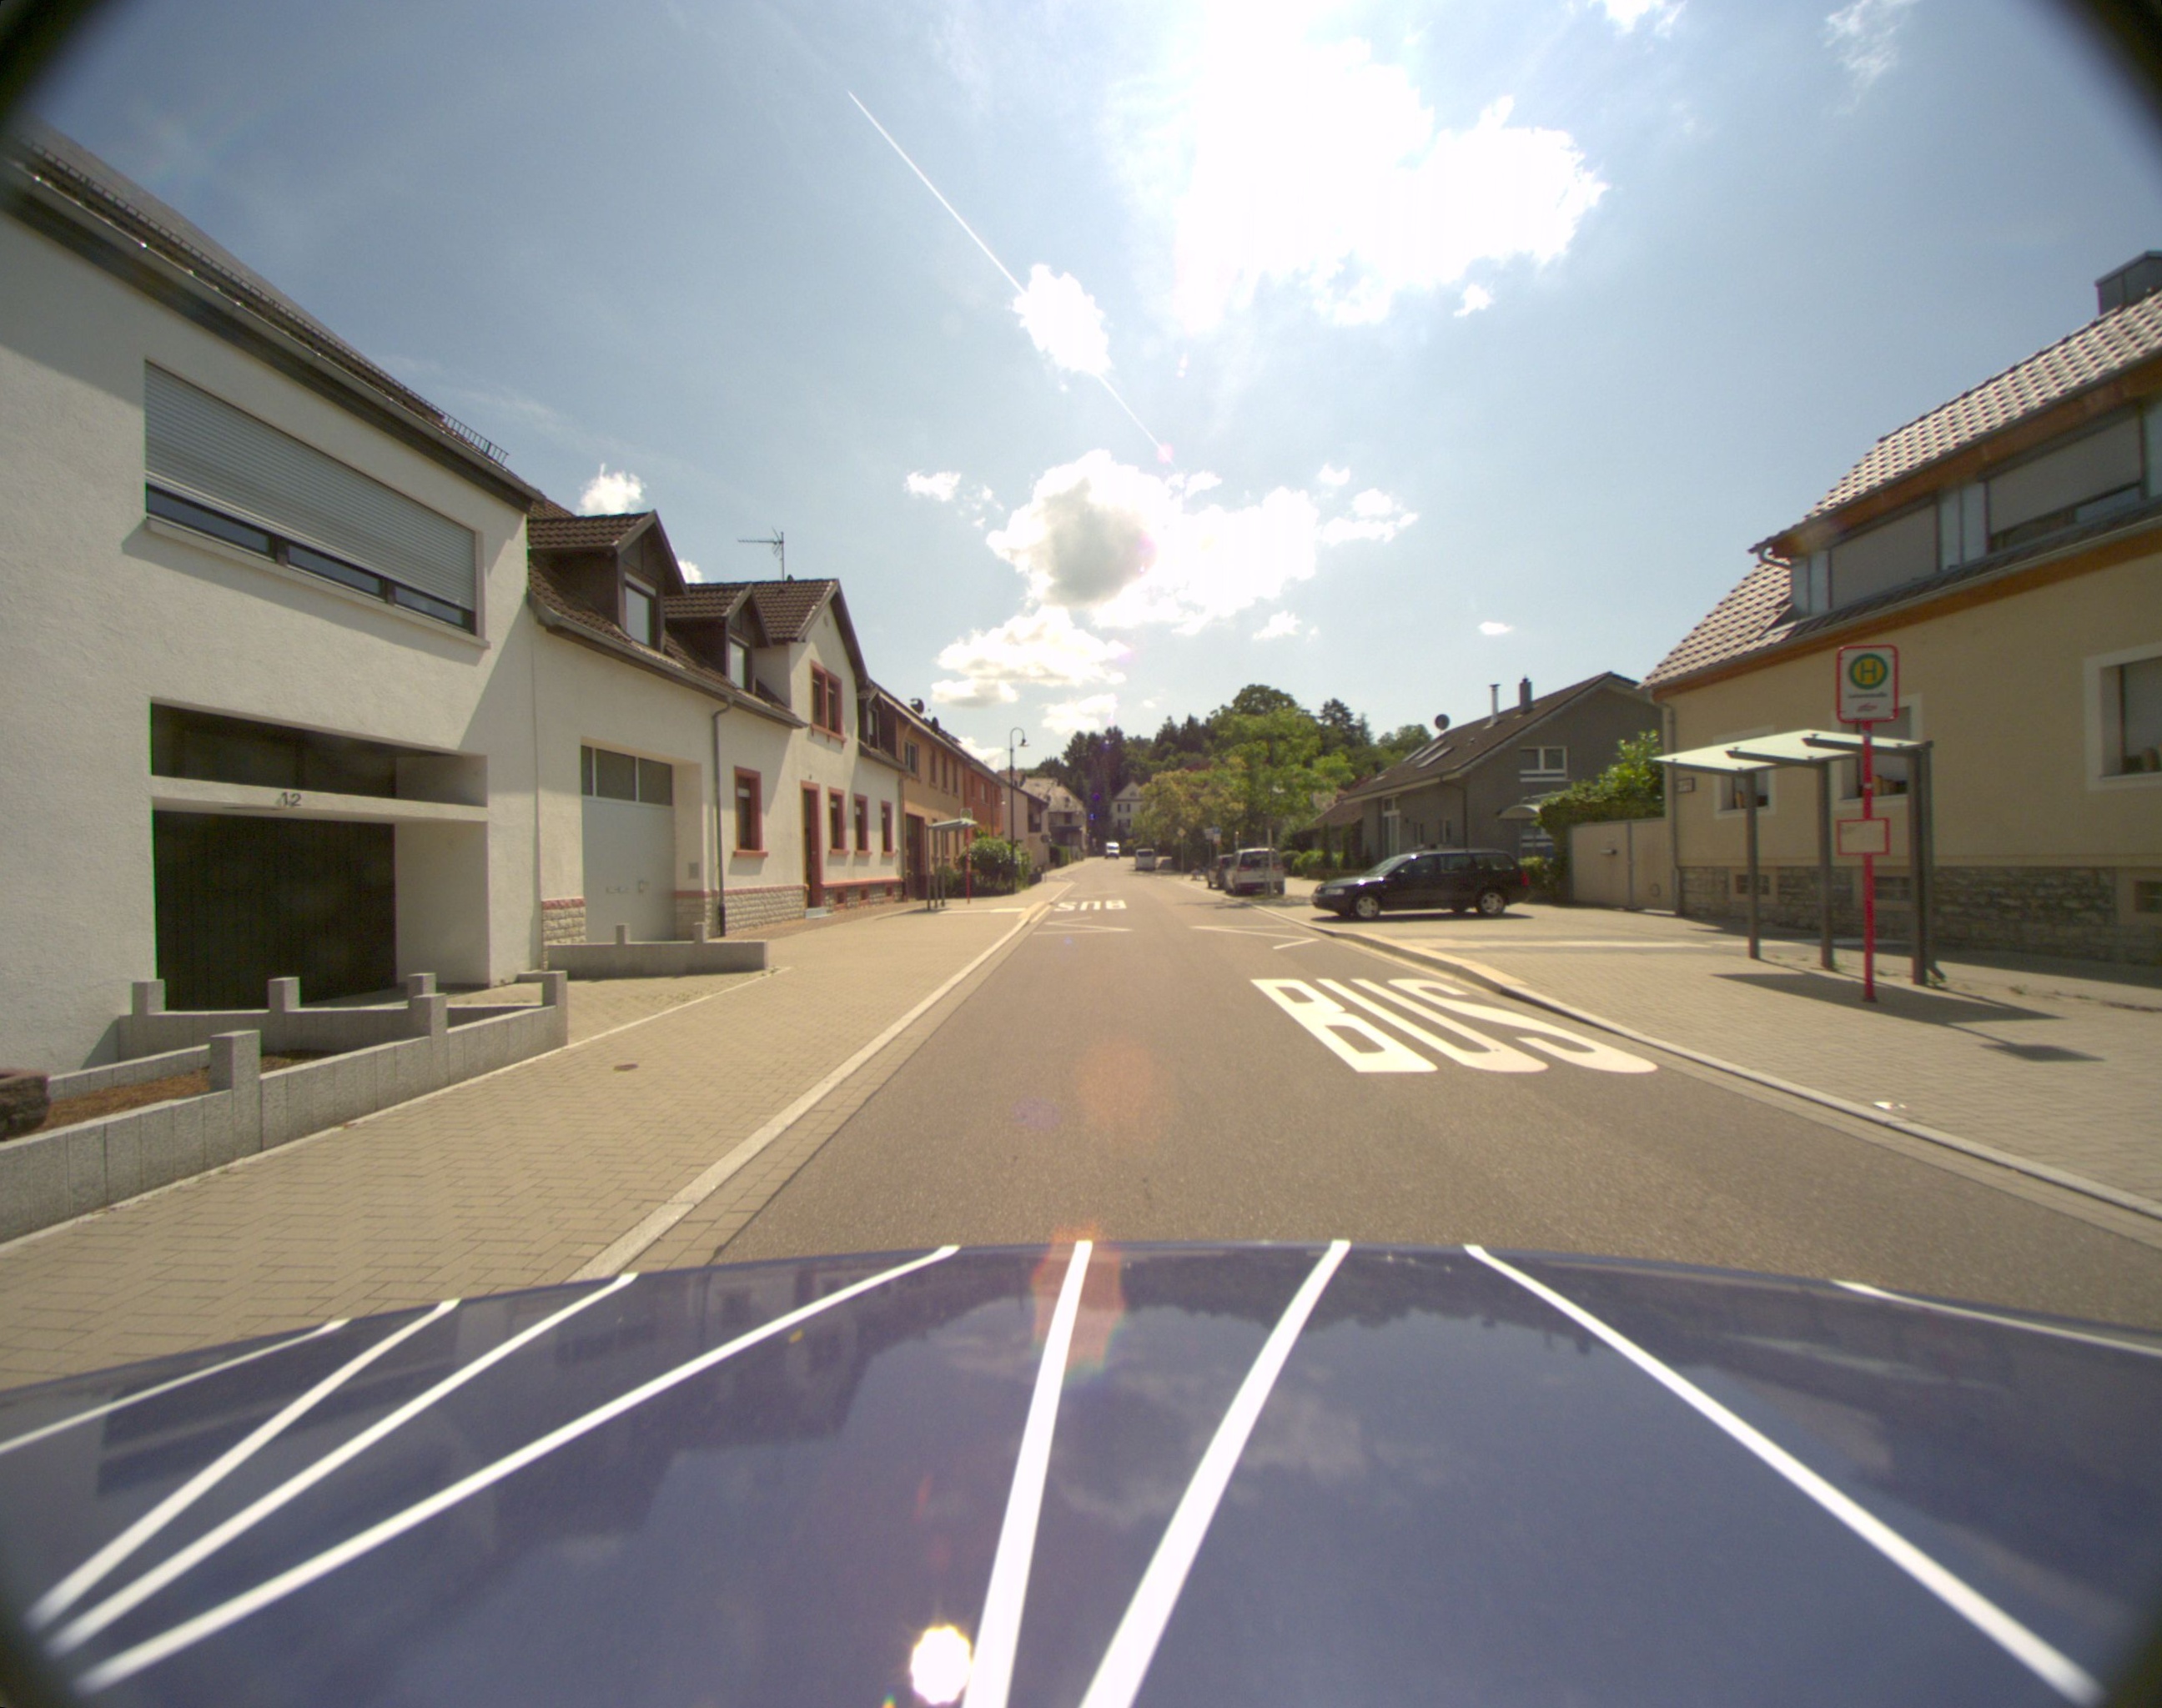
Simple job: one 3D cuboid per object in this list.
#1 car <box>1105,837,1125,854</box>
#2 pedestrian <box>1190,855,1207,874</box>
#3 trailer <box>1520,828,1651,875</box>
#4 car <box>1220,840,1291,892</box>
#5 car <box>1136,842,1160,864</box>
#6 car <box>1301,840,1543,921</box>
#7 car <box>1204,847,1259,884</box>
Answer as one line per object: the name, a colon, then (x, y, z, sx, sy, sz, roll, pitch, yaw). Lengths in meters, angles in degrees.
car: (5.208, -1.343, 117.672, 2.490, 2.306, 5.598, -4, 1, -2)
pedestrian: (7.423, 0.654, 47.952, 0.815, 1.135, 0.885, -4, 1, -2)
trailer: (17.876, -0.089, 27.013, 3.642, 1.380, 1.585, -4, 1, -4)
car: (6.600, 0.443, 29.217, 1.843, 1.737, 4.687, -4, -1, 3)
car: (6.425, -0.125, 73.506, 1.998, 1.968, 3.999, -2, 1, 1)
car: (7.597, 0.563, 17.285, 4.598, 1.508, 1.901, -3, 1, 2)
car: (6.923, 0.538, 35.327, 1.727, 1.515, 3.910, -4, -1, 1)
